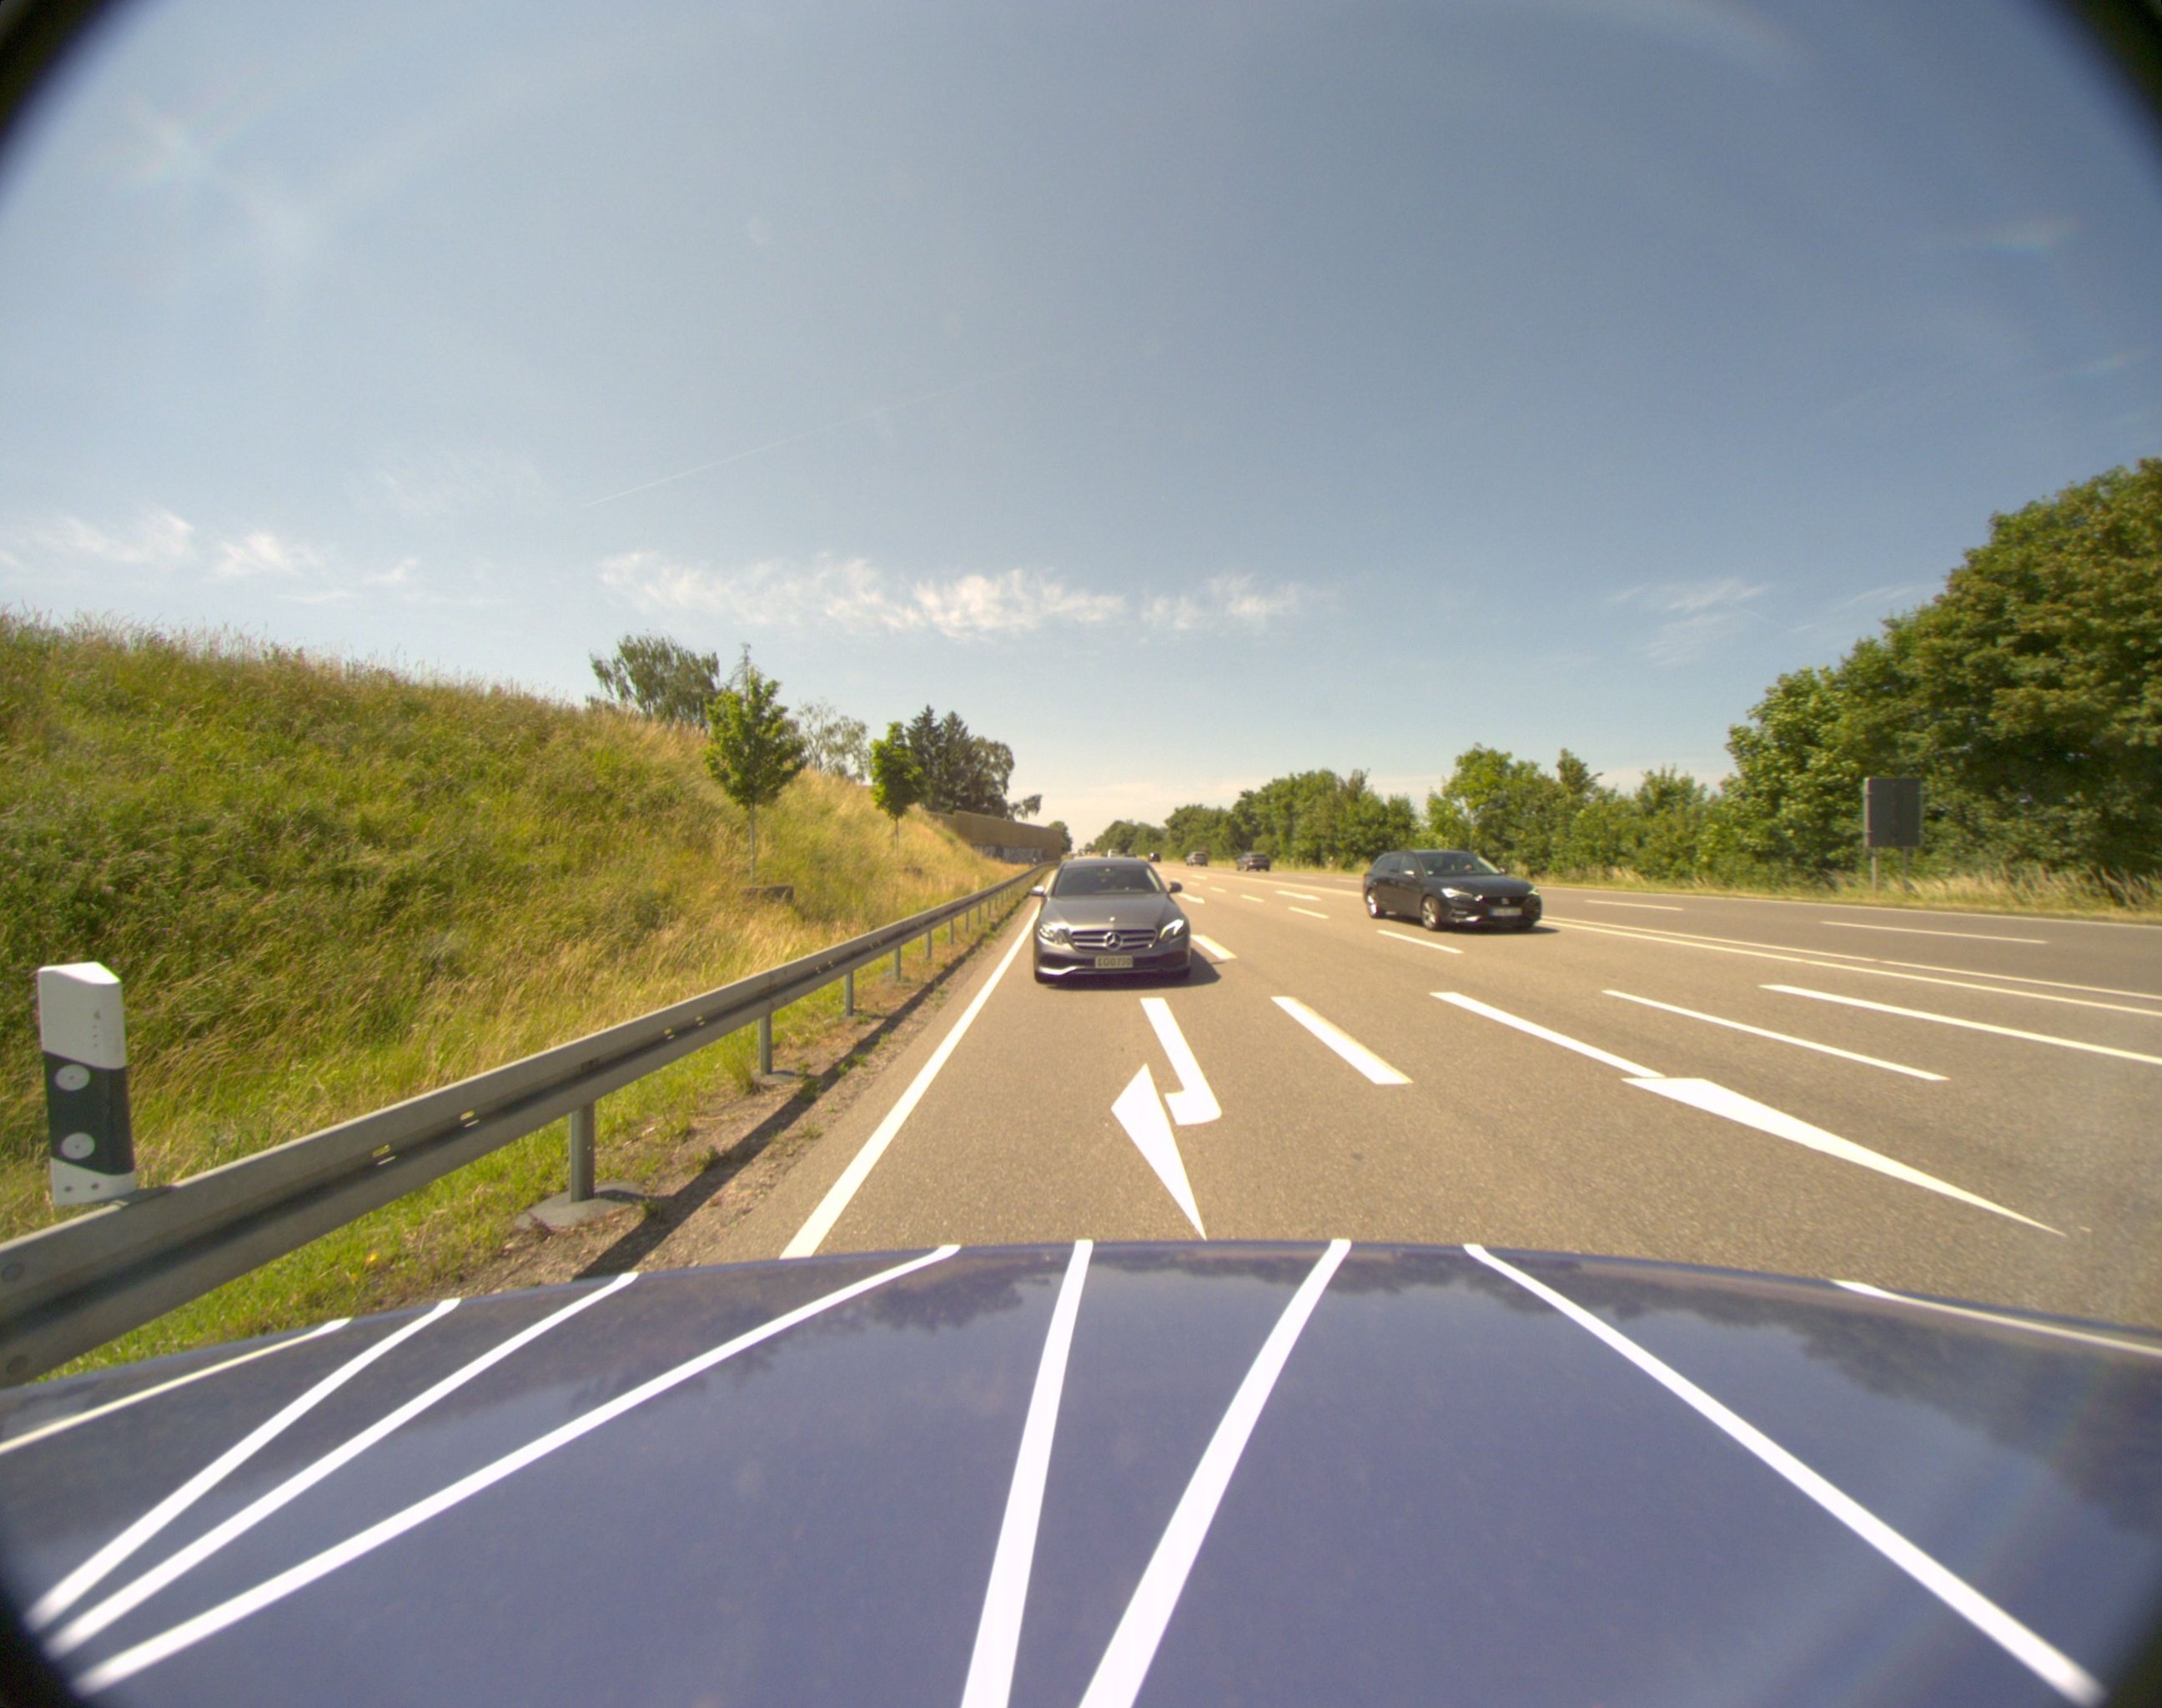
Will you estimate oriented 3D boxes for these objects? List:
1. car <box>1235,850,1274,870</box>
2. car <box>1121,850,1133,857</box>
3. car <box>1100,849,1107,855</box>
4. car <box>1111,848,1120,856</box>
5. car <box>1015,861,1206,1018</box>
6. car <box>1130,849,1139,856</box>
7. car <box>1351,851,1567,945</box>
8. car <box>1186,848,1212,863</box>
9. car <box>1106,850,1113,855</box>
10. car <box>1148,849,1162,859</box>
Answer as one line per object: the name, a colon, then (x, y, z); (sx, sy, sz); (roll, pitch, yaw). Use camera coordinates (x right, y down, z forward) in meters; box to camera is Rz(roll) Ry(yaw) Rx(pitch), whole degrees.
car: (13.564, 0.451, 59.742); (1.883, 1.390, 4.530); (-2, 1, -1)
car: (9.059, -0.044, 150.236); (1.810, 1.272, 4.764); (-1, 1, -3)
car: (7.278, -0.697, 246.594); (1.834, 1.835, 3.847); (-2, 1, -2)
car: (7.992, -0.401, 176.481); (1.910, 1.906, 5.051); (0, 0, 0)
car: (0.241, 0.881, 9.931); (1.894, 1.439, 4.524); (-2, 1, -2)
car: (11.979, -0.251, 168.844); (1.526, 1.461, 3.787); (-2, 1, -3)
car: (6.978, 0.705, 14.651); (1.894, 1.439, 4.525); (-2, 1, 0)
car: (13.682, 0.139, 88.331); (2.033, 1.630, 4.568); (-2, 1, -2)
car: (8.023, -0.435, 216.362); (1.893, 1.527, 4.525); (-2, 1, 1)
car: (11.162, 0.034, 115.368); (1.649, 1.479, 3.557); (-2, 1, -2)
